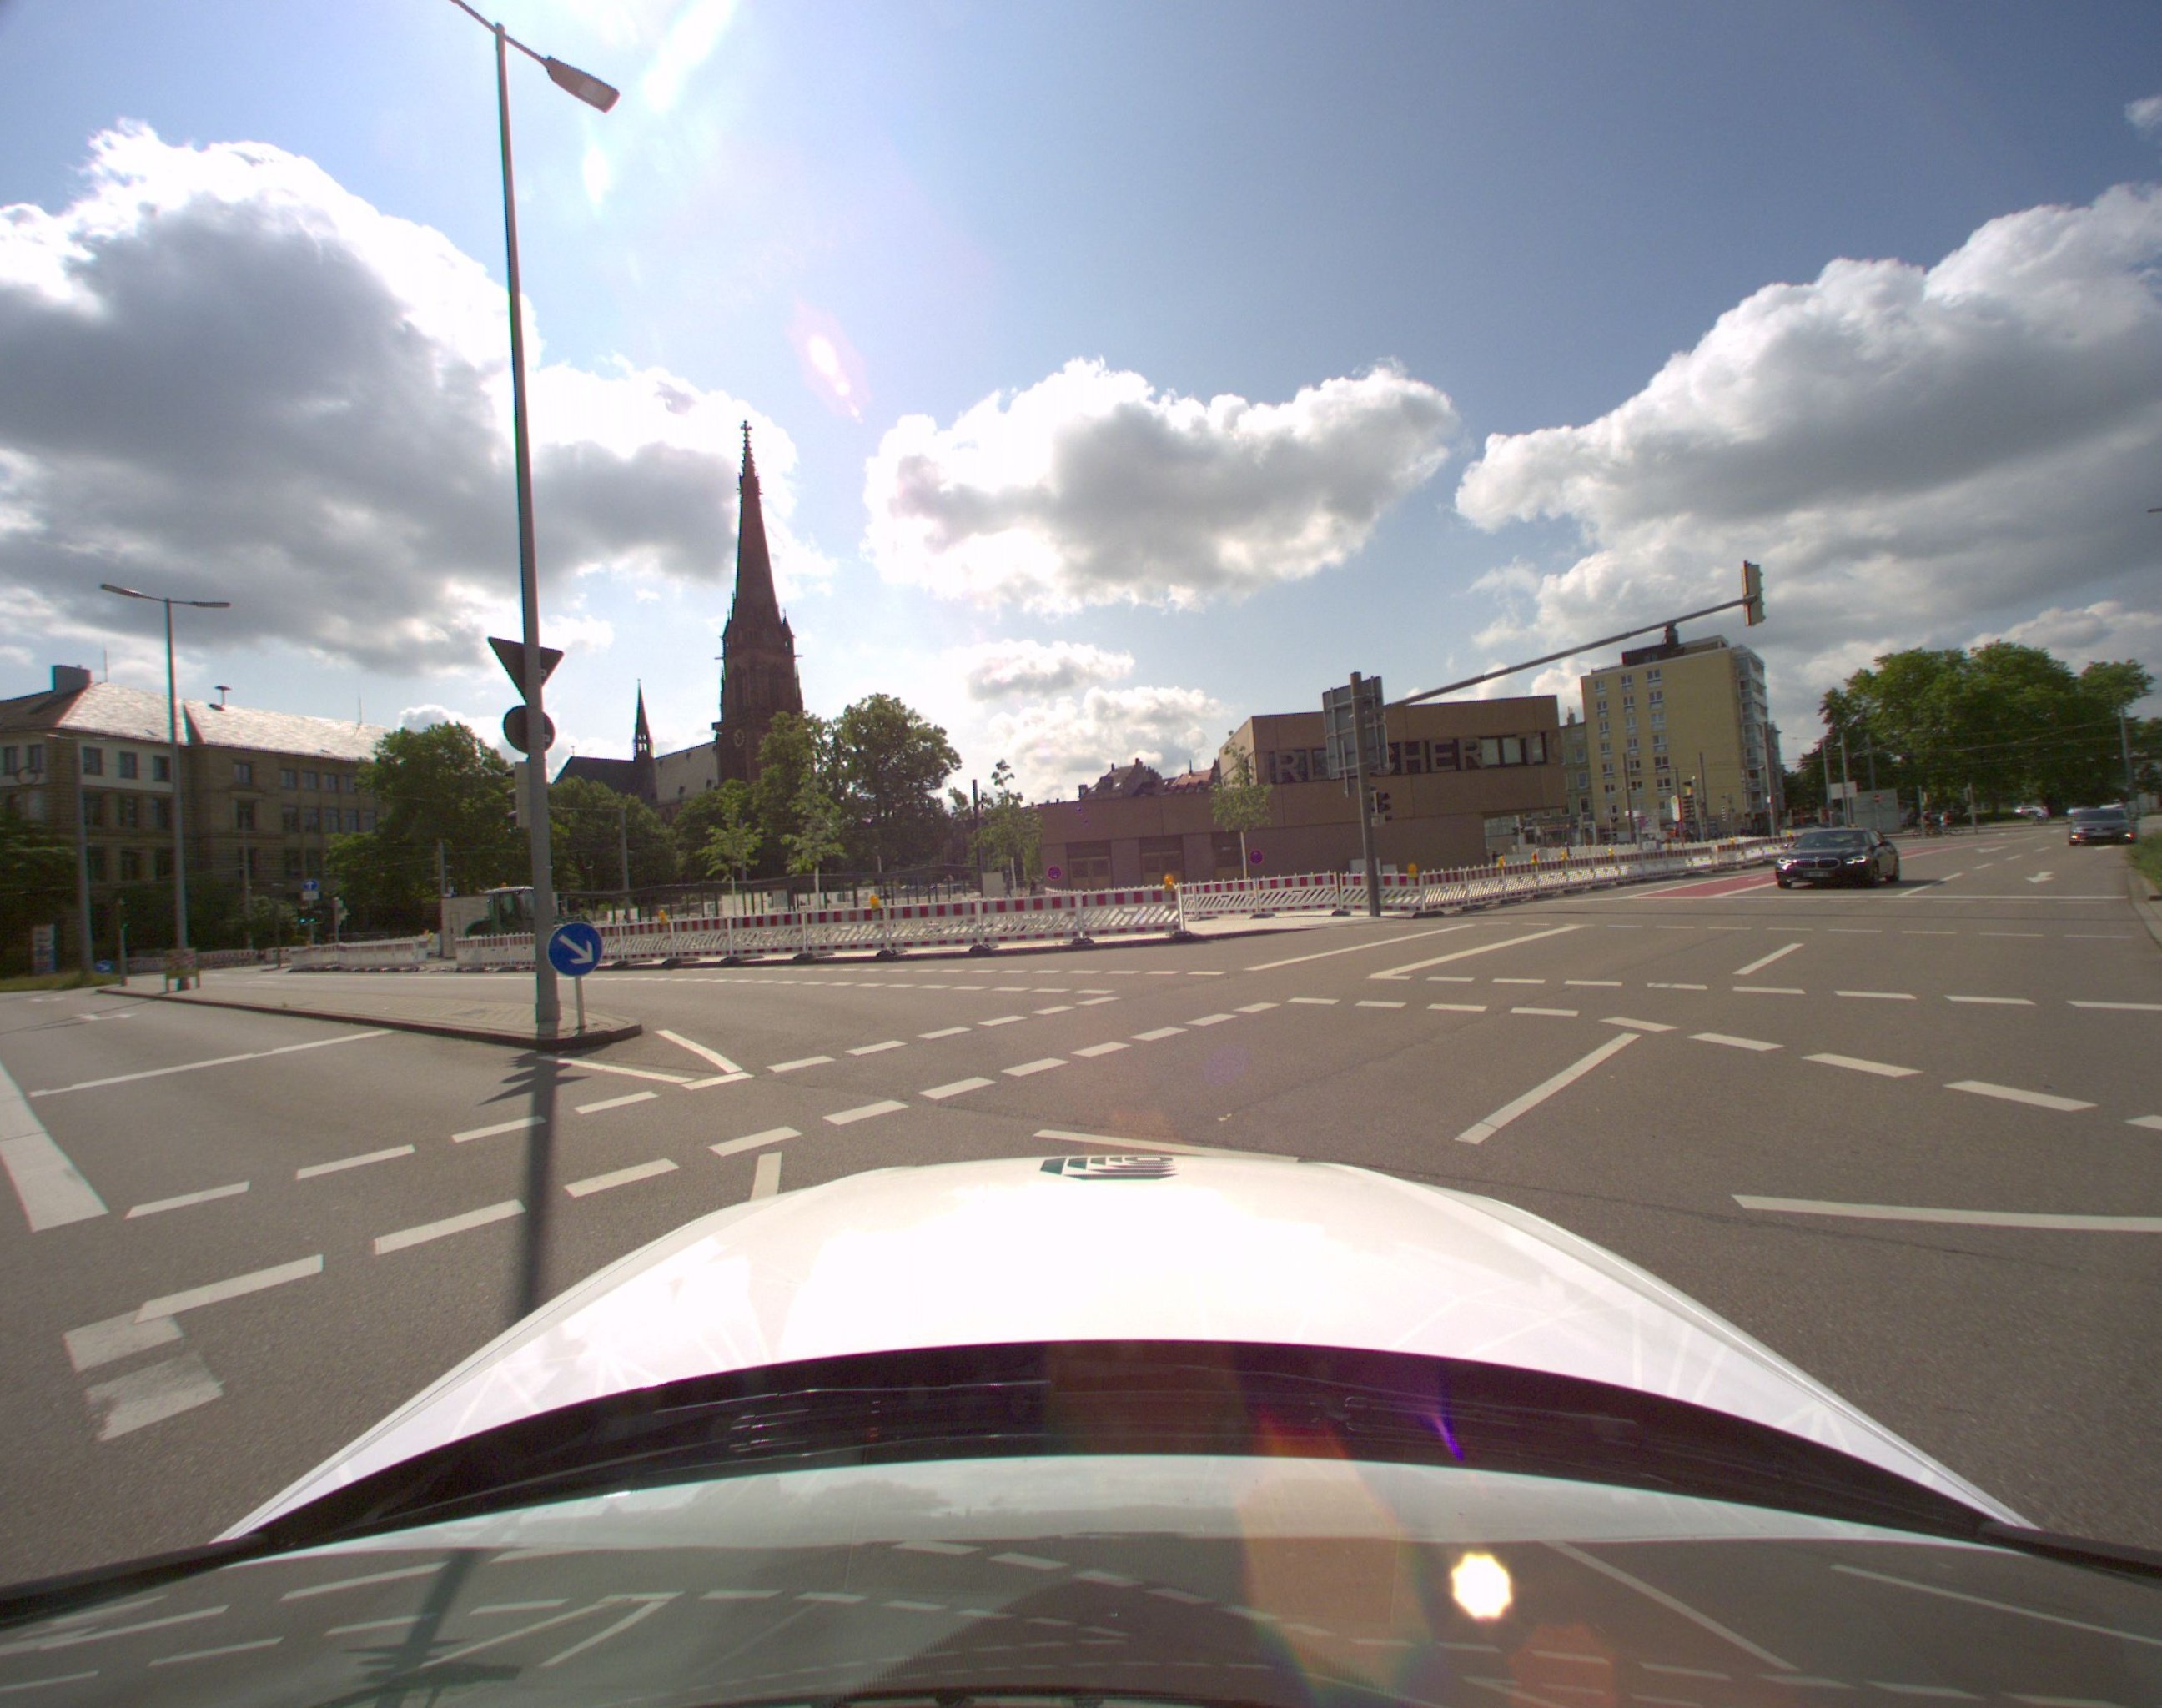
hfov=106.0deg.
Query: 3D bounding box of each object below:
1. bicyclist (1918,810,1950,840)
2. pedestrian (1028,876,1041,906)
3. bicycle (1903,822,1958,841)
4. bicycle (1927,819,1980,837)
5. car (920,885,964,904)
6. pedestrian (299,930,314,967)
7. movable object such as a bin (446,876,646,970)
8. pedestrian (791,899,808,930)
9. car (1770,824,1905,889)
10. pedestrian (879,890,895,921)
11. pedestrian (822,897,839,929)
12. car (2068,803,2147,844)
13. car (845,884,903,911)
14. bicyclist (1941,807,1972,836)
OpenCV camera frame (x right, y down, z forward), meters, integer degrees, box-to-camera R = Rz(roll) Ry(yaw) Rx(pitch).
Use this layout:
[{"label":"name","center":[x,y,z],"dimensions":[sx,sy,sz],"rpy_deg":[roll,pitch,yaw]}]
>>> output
[{"label":"bicyclist","center":[57.033,-1.950,54.469],"dimensions":[0.861,1.909,1.211],"rpy_deg":[-3,-2,-30]},{"label":"pedestrian","center":[-3.117,2.484,54.918],"dimensions":[0.698,2.014,0.556],"rpy_deg":[-4,-2,1]},{"label":"bicycle","center":[56.955,-1.518,54.620],"dimensions":[0.861,1.067,2.363],"rpy_deg":[-3,-2,-30]},{"label":"bicycle","center":[61.056,-1.824,57.002],"dimensions":[0.845,1.067,2.363],"rpy_deg":[-3,-2,-30]},{"label":"car","center":[-15.471,4.509,90.874],"dimensions":[4.331,1.793,1.788],"rpy_deg":[-4,-2,9]},{"label":"pedestrian","center":[-39.993,4.859,42.057],"dimensions":[0.502,1.850,0.522],"rpy_deg":[-2,-3,-44]},{"label":"movable object such as a bin","center":[-19.405,2.450,29.798],"dimensions":[5.521,2.885,2.282],"rpy_deg":[-4,-2,-8]},{"label":"pedestrian","center":[-18.741,4.018,54.247],"dimensions":[0.746,2.014,0.762],"rpy_deg":[-4,-2,-2]},{"label":"car","center":[19.012,0.035,20.421],"dimensions":[4.248,1.388,1.777],"rpy_deg":[-3,-2,-38]},{"label":"pedestrian","center":[-13.194,3.476,55.332],"dimensions":[0.758,2.014,0.750],"rpy_deg":[-4,-2,-1]},{"label":"pedestrian","center":[-16.561,3.890,53.871],"dimensions":[0.758,2.014,0.750],"rpy_deg":[-4,-2,-1]},{"label":"car","center":[41.535,-1.251,32.941],"dimensions":[4.078,1.480,1.650],"rpy_deg":[-3,1,-34]},{"label":"car","center":[-16.935,3.541,66.833],"dimensions":[4.152,1.882,1.803],"rpy_deg":[-4,-2,0]},{"label":"bicyclist","center":[61.116,-2.263,56.846],"dimensions":[0.837,1.909,1.211],"rpy_deg":[-3,-2,-30]}]
